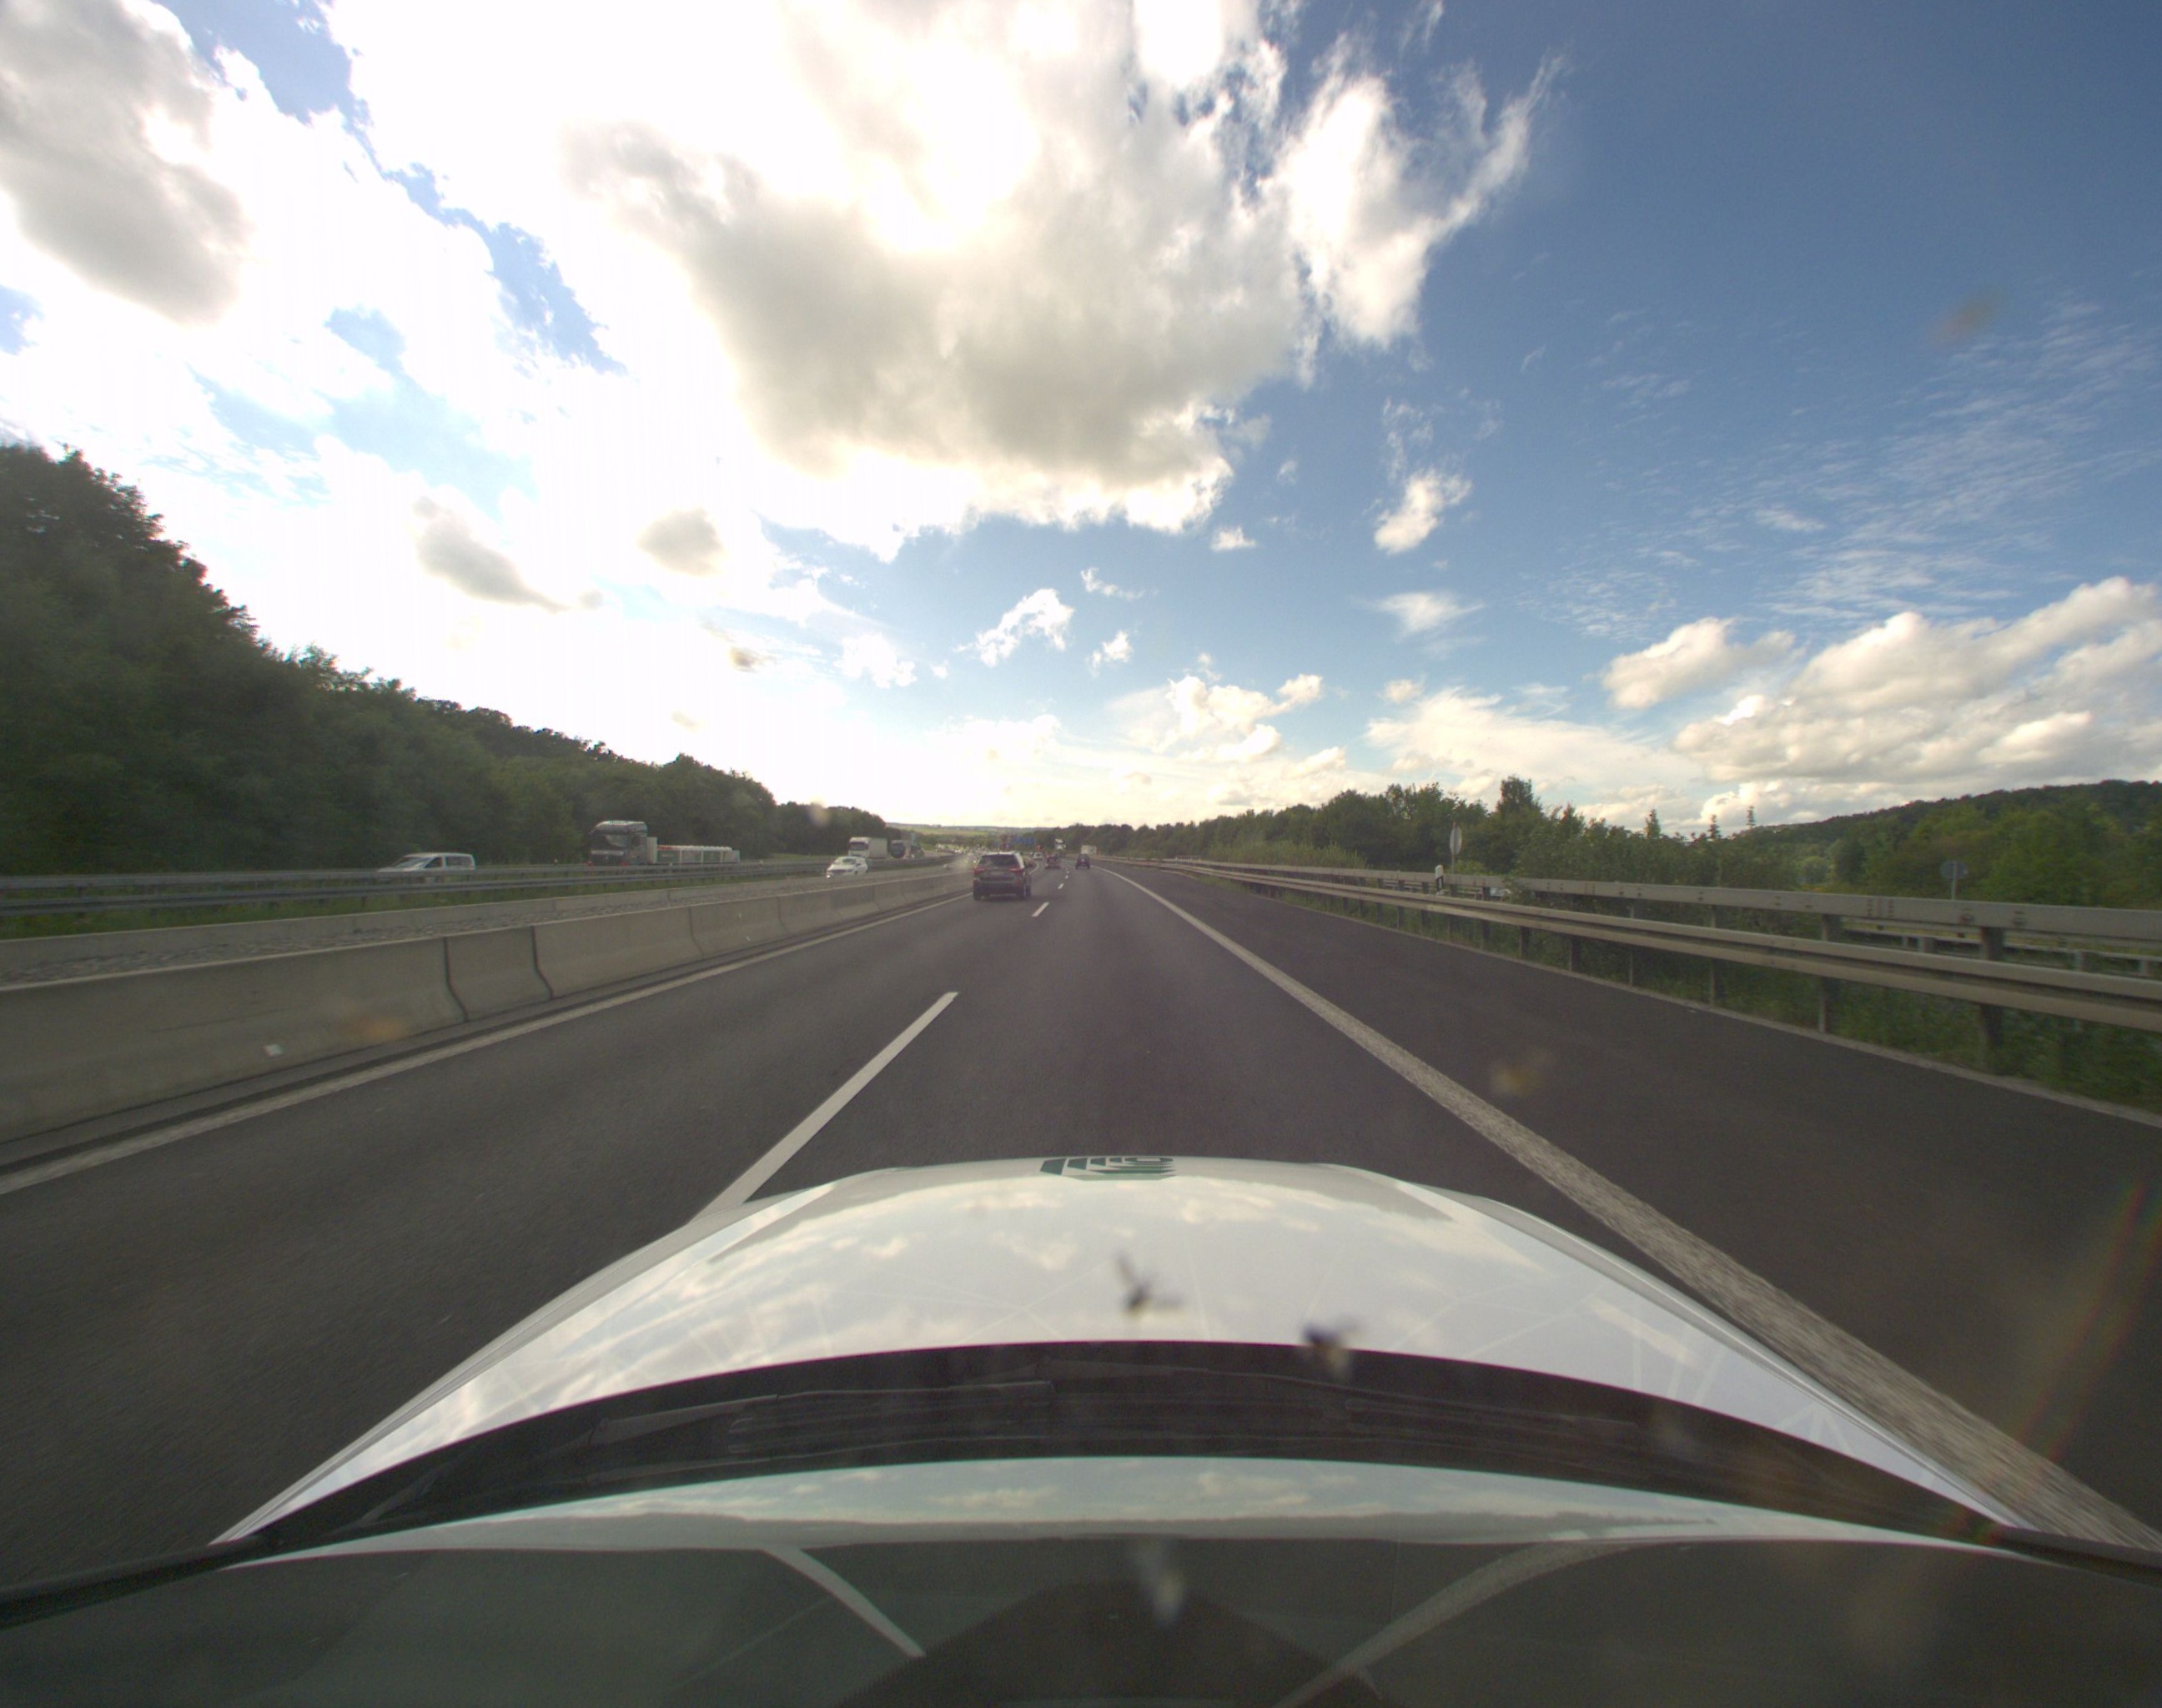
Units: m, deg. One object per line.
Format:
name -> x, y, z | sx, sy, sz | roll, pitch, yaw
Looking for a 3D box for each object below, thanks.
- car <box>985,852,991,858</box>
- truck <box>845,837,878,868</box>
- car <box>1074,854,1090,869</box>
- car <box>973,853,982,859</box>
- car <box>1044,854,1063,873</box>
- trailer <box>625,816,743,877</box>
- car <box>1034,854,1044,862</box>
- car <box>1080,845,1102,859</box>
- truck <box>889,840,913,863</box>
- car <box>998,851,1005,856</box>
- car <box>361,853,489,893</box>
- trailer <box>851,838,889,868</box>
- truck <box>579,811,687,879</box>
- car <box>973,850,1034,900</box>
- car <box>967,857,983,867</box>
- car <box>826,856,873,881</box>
car -> -27.341, 0.202, 239.413 | 1.883, 1.610, 4.957 | -1, 0, -5
truck -> -31.608, -0.170, 117.367 | 3.314, 4.293, 6.737 | 0, -1, -4
car -> 0.121, 0.855, 93.608 | 1.583, 1.597, 4.091 | 0, 0, -3
car -> -28.462, 0.550, 223.966 | 1.990, 1.402, 4.806 | -1, 0, -4
car -> -3.211, 1.045, 94.771 | 2.024, 2.151, 4.000 | 0, 0, 0
trailer -> -27.181, -0.463, 56.647 | 2.806, 3.807, 12.174 | 0, 0, -3
car -> -9.891, 0.904, 191.453 | 1.991, 1.684, 3.990 | 0, -1, -7
car -> 2.965, -0.595, 253.140 | 4.728, 4.266, 11.364 | 0, -1, -10
truck -> -33.223, -0.395, 150.743 | 2.896, 3.969, 10.447 | 0, -1, -4
car -> -24.212, -0.111, 248.715 | 1.884, 1.703, 4.954 | -1, 0, -7
car -> -32.840, 0.939, 41.018 | 1.986, 1.855, 5.264 | -1, -1, 2
trailer -> -32.013, -0.005, 124.033 | 3.314, 4.293, 12.124 | 0, -1, -3
truck -> -26.809, -0.495, 49.163 | 2.803, 3.826, 7.122 | 0, 0, -3
car -> -2.848, 0.755, 30.905 | 1.812, 1.736, 5.185 | 0, -1, -1
car -> -16.579, 1.282, 128.042 | 1.869, 1.447, 5.119 | 0, -1, -1
car -> -15.154, 0.957, 53.542 | 1.707, 1.528, 4.766 | -1, -1, 0
